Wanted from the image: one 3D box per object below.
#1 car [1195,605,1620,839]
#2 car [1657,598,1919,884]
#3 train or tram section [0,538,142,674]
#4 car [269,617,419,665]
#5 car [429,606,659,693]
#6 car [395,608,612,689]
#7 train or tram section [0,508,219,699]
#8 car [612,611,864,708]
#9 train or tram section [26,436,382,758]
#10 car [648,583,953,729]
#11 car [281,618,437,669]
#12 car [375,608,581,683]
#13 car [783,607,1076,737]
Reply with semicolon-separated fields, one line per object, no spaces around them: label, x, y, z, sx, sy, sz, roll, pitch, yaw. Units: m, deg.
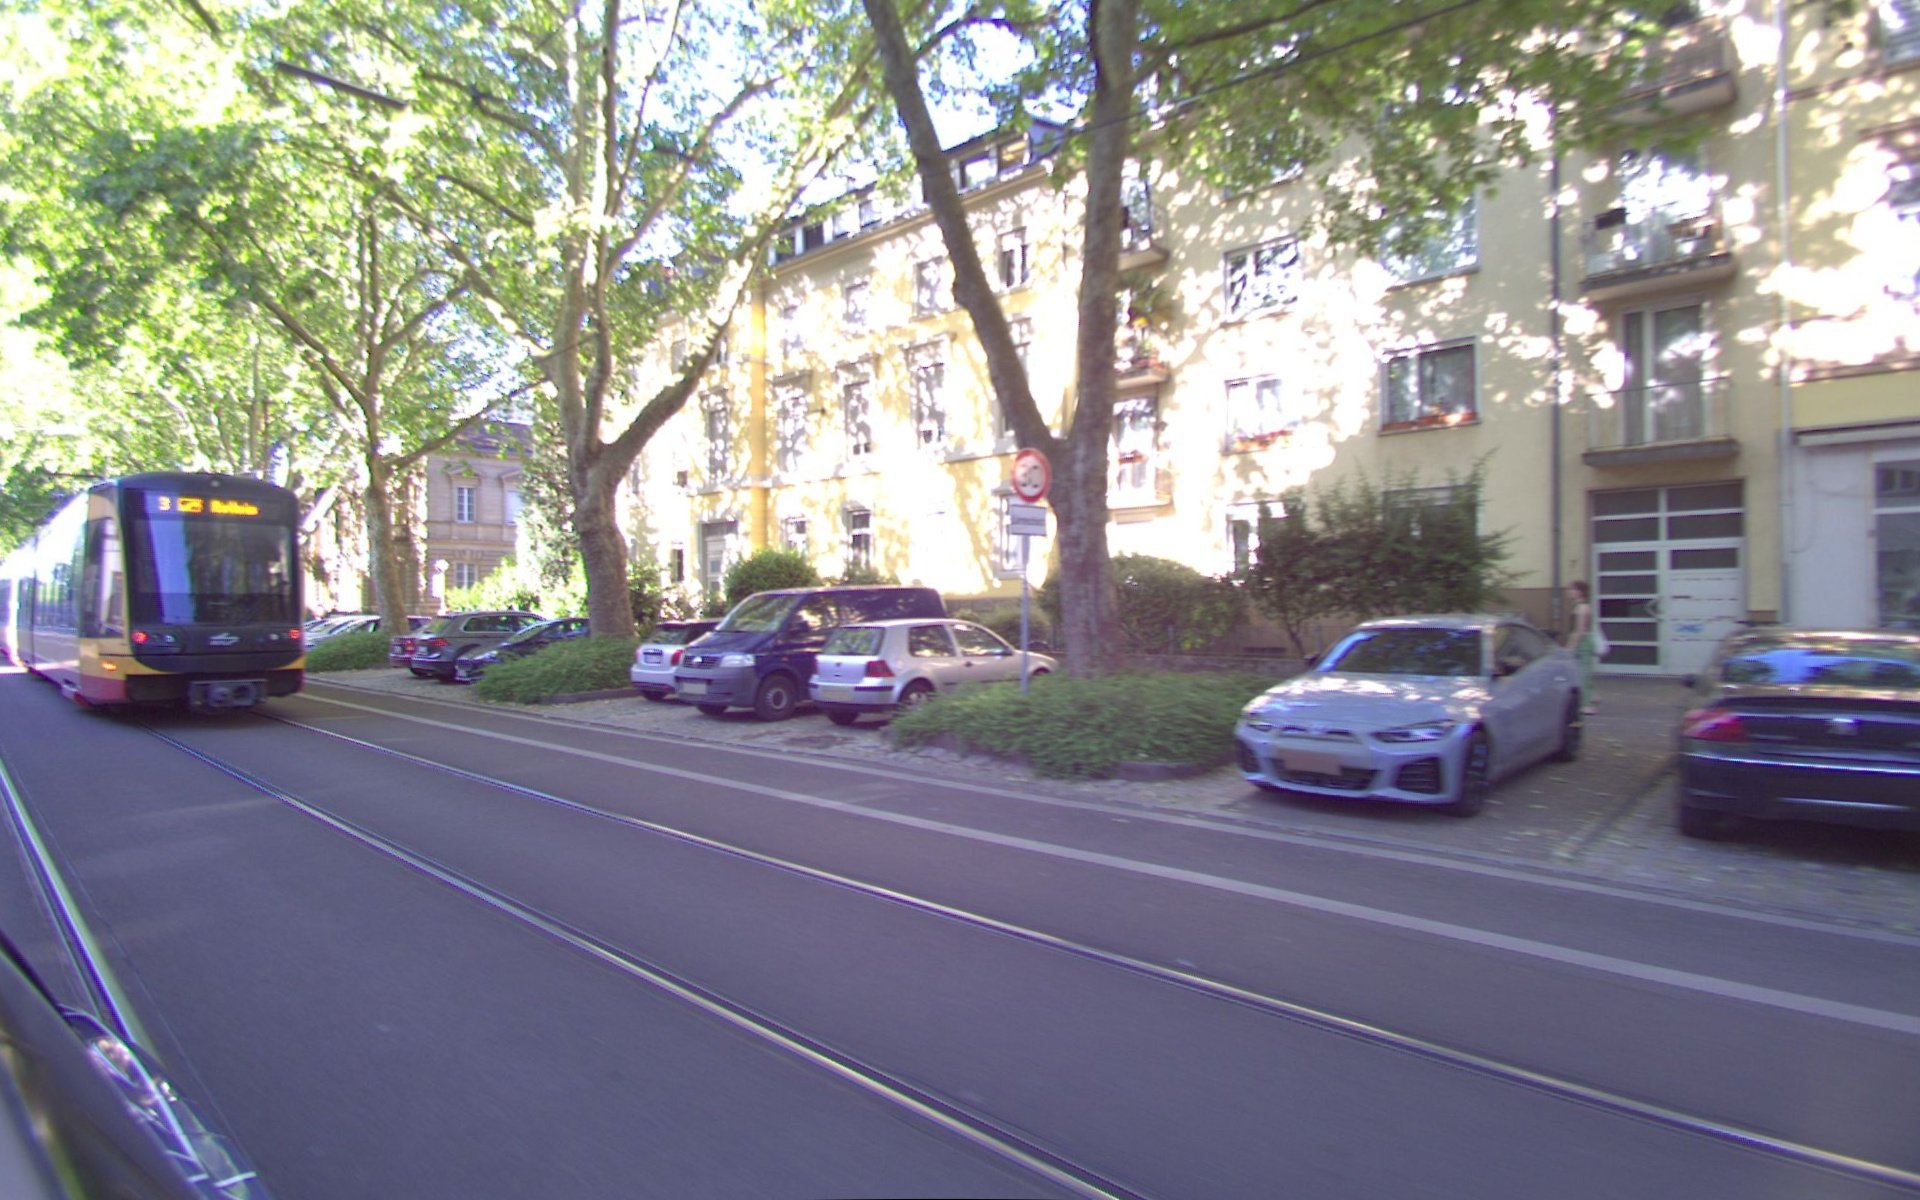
car;4.381;0.872;9.410;2.001;1.456;4.876;-2;0;44
car;6.581;0.801;7.444;1.904;1.509;4.101;-1;1;42
train or tram section;-29.102;0.175;32.553;12.416;3.646;2.904;-1;1;45
car;-20.332;1.323;33.509;1.600;1.441;3.947;-1;-1;40
car;-9.244;1.041;22.723;2.000;1.625;4.307;-2;0;43
car;-10.878;1.104;24.333;2.000;1.625;4.307;-2;0;43
train or tram section;-20.672;0.067;24.228;11.264;3.646;2.904;-1;1;45
car;-3.938;1.009;18.535;1.658;1.418;4.307;-2;0;43
train or tram section;-12.719;-0.034;16.367;11.067;3.646;2.904;-1;1;45
car;-2.378;0.754;16.124;1.921;1.922;4.578;-2;0;42
car;-18.699;1.324;31.614;1.527;1.441;3.947;-1;-1;40
car;-12.273;1.108;25.952;2.000;1.625;4.307;-2;0;43
car;-0.321;0.915;14.496;1.869;1.456;4.014;-2;0;43
